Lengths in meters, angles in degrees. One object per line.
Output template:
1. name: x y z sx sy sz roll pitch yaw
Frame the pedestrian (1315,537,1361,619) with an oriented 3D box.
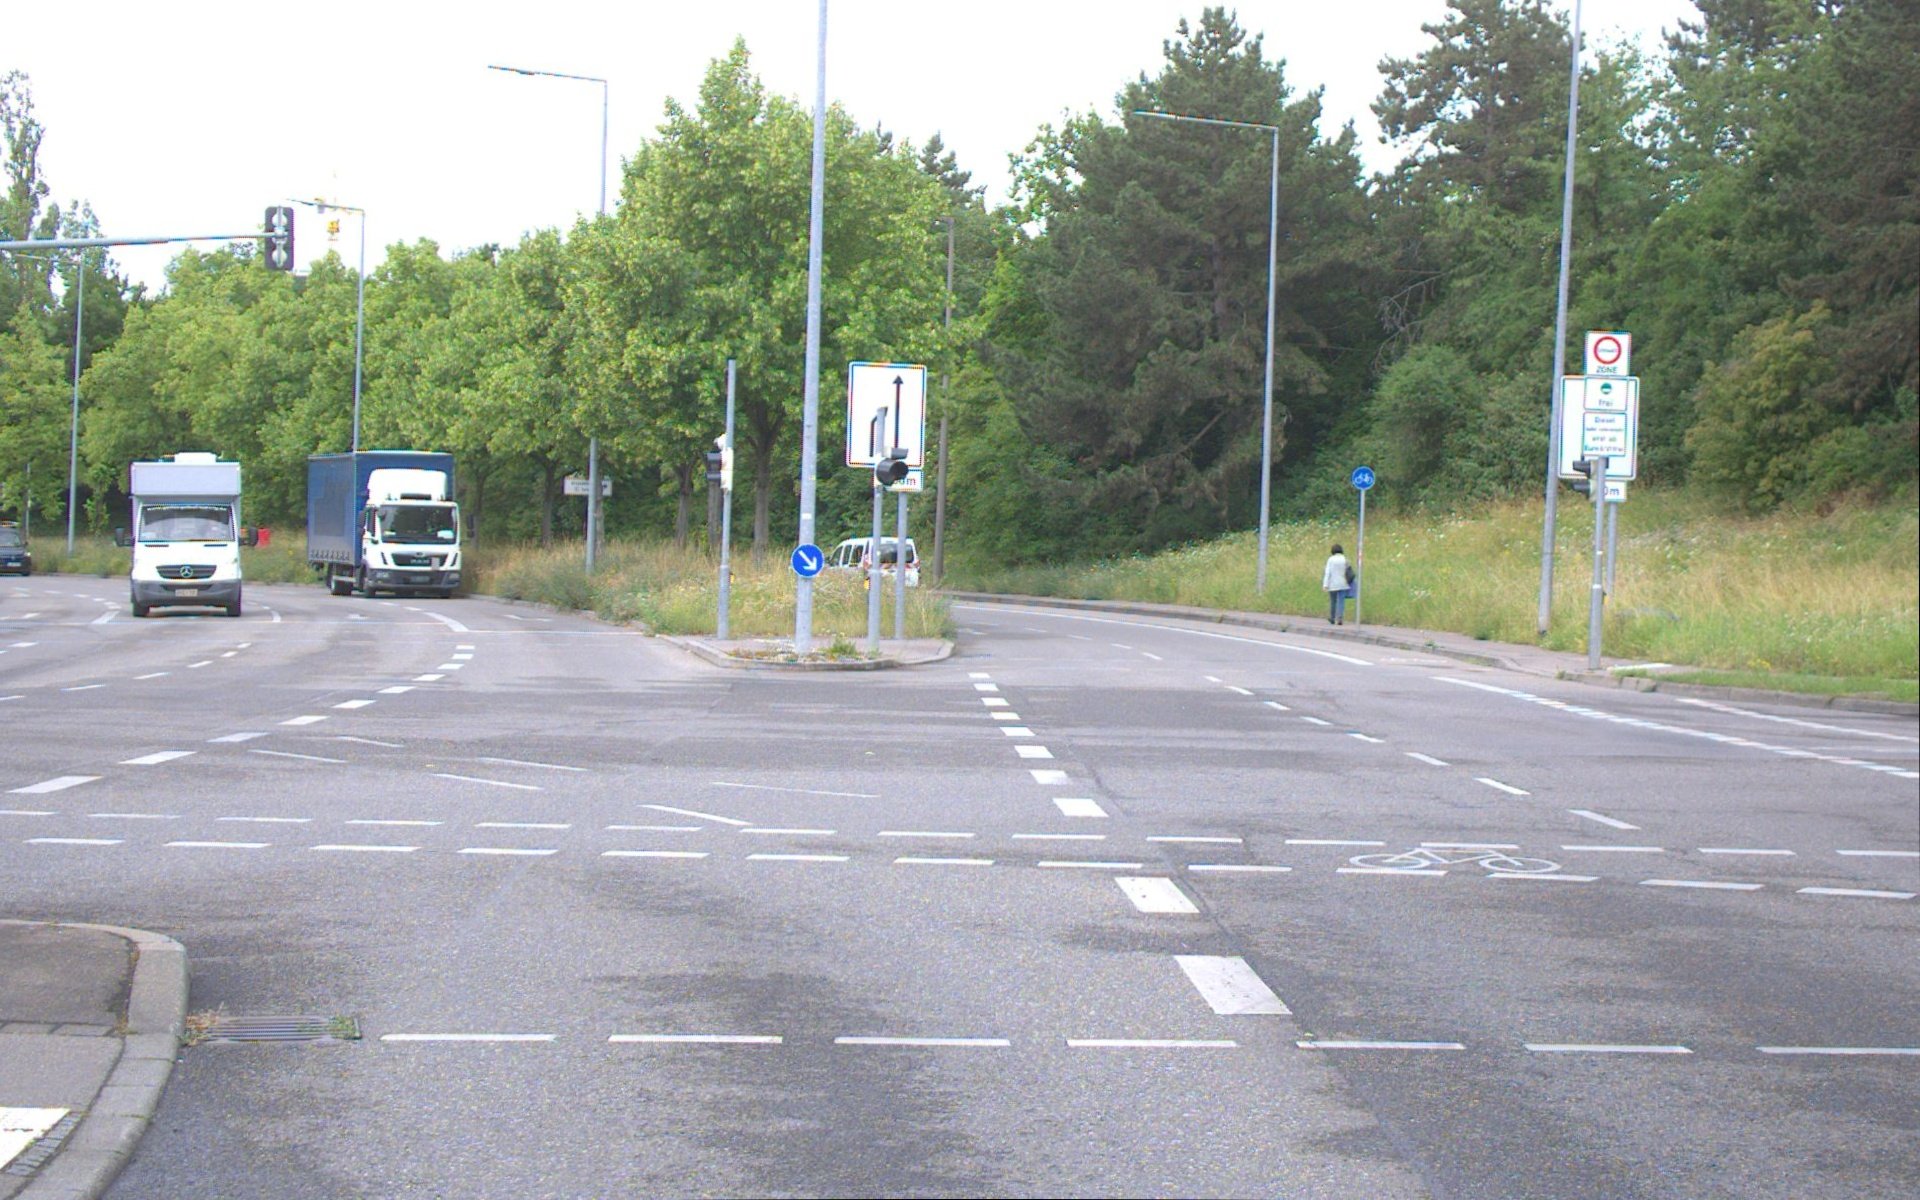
1. pedestrian: 7.628 -0.449 69.408 0.814 1.622 0.791 1 1 -1

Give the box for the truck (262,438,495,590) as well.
1. truck: -15.766 -2.235 92.122 3.048 3.747 12.816 1 1 -24

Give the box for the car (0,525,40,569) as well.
1. car: -35.305 -1.961 125.690 1.781 1.441 4.528 -2 4 -34

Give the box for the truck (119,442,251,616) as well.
1. truck: -14.682 -1.318 65.395 2.115 3.124 5.902 1 1 -10

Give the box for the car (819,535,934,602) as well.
1. car: -2.344 -0.865 94.788 1.994 1.796 4.840 0 0 -16

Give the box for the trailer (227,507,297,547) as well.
1. trailer: -28.514 -2.995 140.411 1.765 1.610 3.044 0 1 -34
